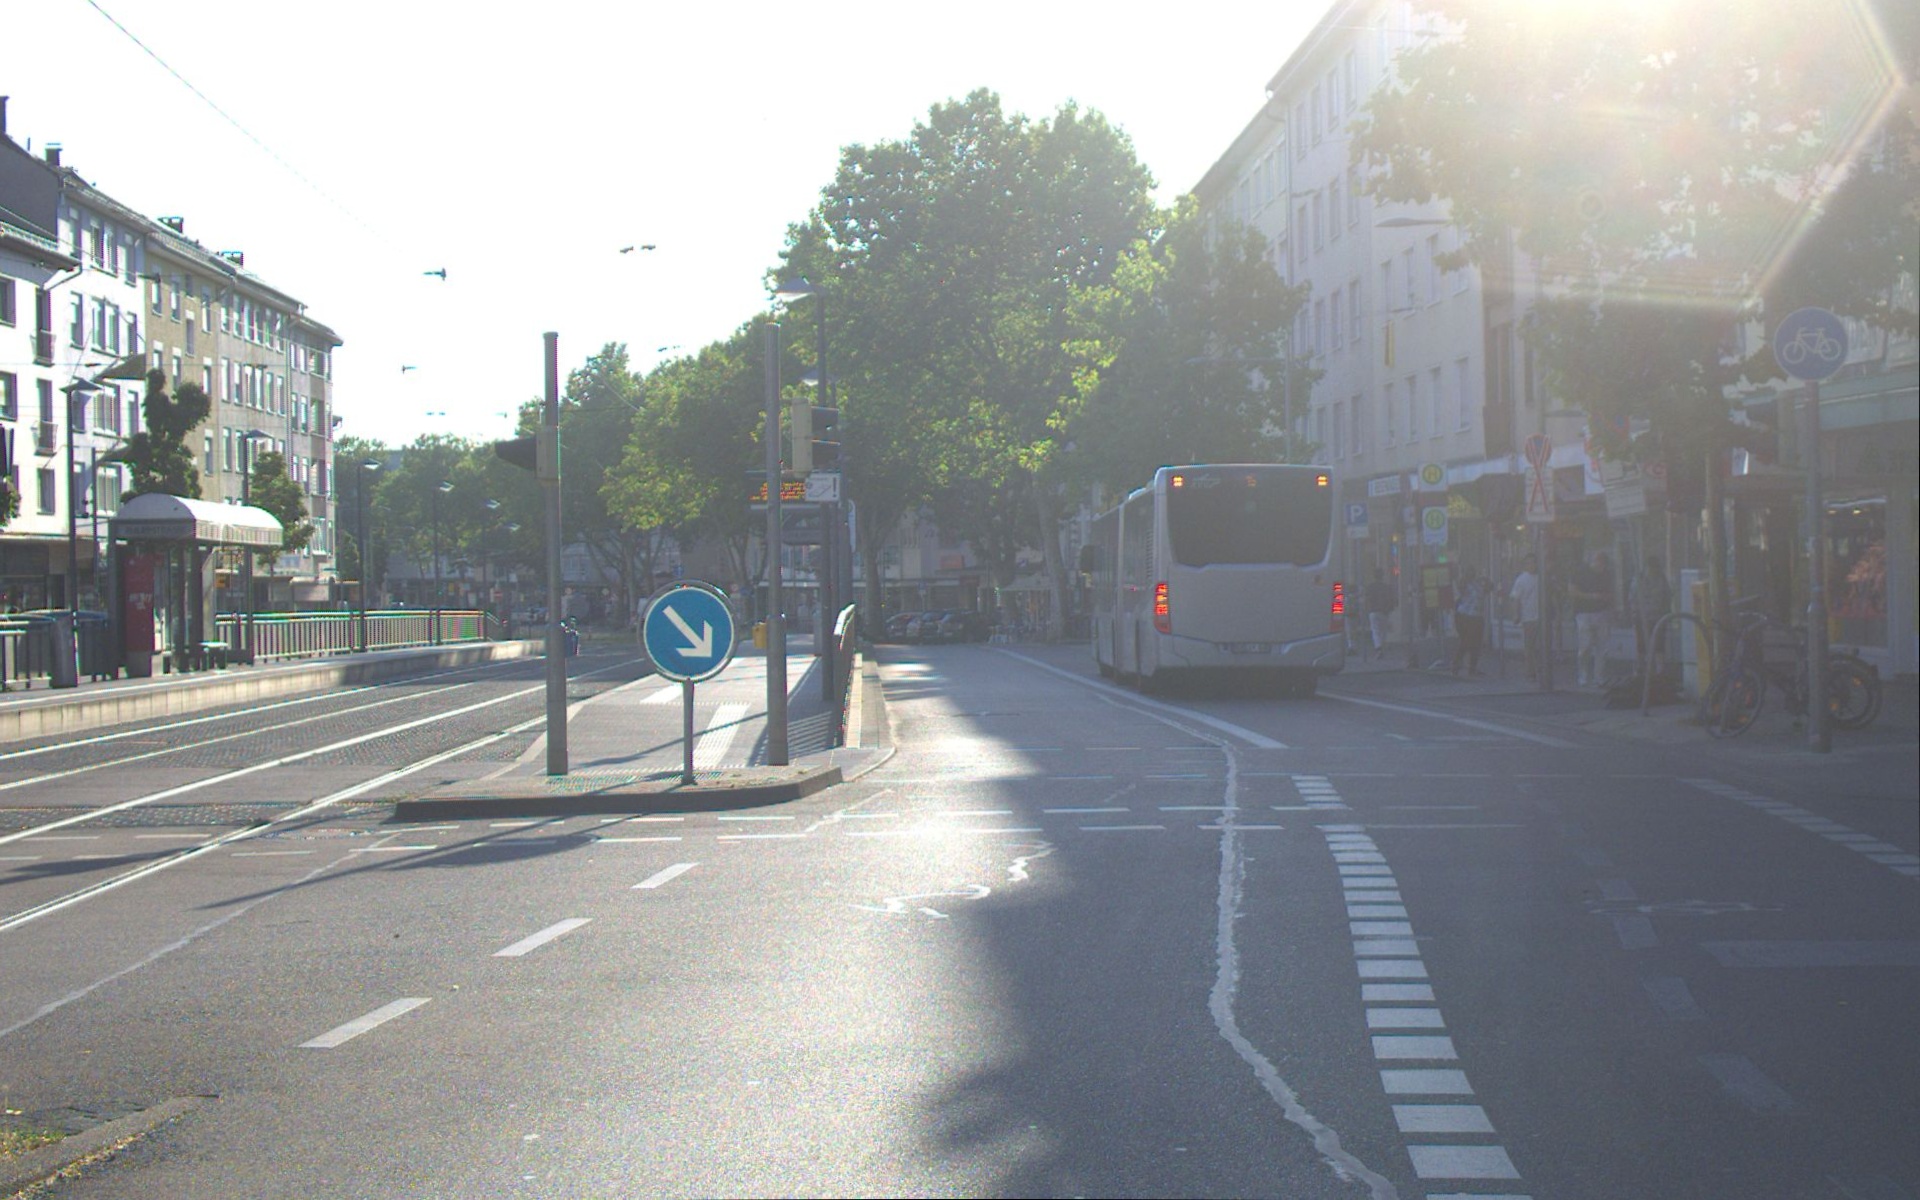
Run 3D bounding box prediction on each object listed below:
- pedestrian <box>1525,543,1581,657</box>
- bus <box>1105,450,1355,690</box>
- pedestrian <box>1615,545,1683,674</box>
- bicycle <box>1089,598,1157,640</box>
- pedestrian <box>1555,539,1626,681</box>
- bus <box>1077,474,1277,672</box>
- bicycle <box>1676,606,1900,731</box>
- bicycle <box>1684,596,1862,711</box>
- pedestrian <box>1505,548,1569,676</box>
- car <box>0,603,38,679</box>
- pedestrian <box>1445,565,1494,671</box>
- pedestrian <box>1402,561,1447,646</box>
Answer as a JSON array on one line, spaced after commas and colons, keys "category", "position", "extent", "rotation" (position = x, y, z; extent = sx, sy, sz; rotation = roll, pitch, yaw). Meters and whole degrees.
[{"category": "pedestrian", "position": [9.643, -0.001, 55.922], "extent": [0.723, 1.834, 0.766], "rotation": [-1, 0, -1]}, {"category": "bus", "position": [3.708, -0.404, 49.368], "extent": [2.696, 3.107, 9.382], "rotation": [0, 0, -1]}, {"category": "pedestrian", "position": [9.340, 0.129, 46.638], "extent": [0.723, 1.717, 0.766], "rotation": [-1, 0, -1]}, {"category": "bicycle", "position": [4.759, 0.552, 100.206], "extent": [1.887, 1.073, 0.754], "rotation": [-5, 0, 2]}, {"category": "pedestrian", "position": [8.155, 0.130, 44.489], "extent": [0.723, 1.800, 0.766], "rotation": [-1, 0, -1]}, {"category": "bus", "position": [3.569, -0.437, 58.554], "extent": [2.696, 3.107, 9.070], "rotation": [0, 0, -1]}, {"category": "bicycle", "position": [7.329, 0.599, 30.465], "extent": [1.798, 1.005, 0.541], "rotation": [-3, 0, -4]}, {"category": "bicycle", "position": [7.351, 0.477, 31.097], "extent": [1.482, 1.005, 0.454], "rotation": [-1, 0, -4]}, {"category": "pedestrian", "position": [8.084, 0.169, 48.178], "extent": [0.723, 1.773, 0.766], "rotation": [-1, 0, -1]}, {"category": "car", "position": [-22.512, 0.951, 76.523], "extent": [1.768, 1.674, 3.504], "rotation": [-1, 1, 35]}, {"category": "pedestrian", "position": [7.696, 0.267, 51.942], "extent": [0.610, 1.573, 0.851], "rotation": [-1, 0, 1]}, {"category": "pedestrian", "position": [9.013, 0.062, 66.691], "extent": [0.723, 1.627, 0.766], "rotation": [-1, 0, -1]}]
